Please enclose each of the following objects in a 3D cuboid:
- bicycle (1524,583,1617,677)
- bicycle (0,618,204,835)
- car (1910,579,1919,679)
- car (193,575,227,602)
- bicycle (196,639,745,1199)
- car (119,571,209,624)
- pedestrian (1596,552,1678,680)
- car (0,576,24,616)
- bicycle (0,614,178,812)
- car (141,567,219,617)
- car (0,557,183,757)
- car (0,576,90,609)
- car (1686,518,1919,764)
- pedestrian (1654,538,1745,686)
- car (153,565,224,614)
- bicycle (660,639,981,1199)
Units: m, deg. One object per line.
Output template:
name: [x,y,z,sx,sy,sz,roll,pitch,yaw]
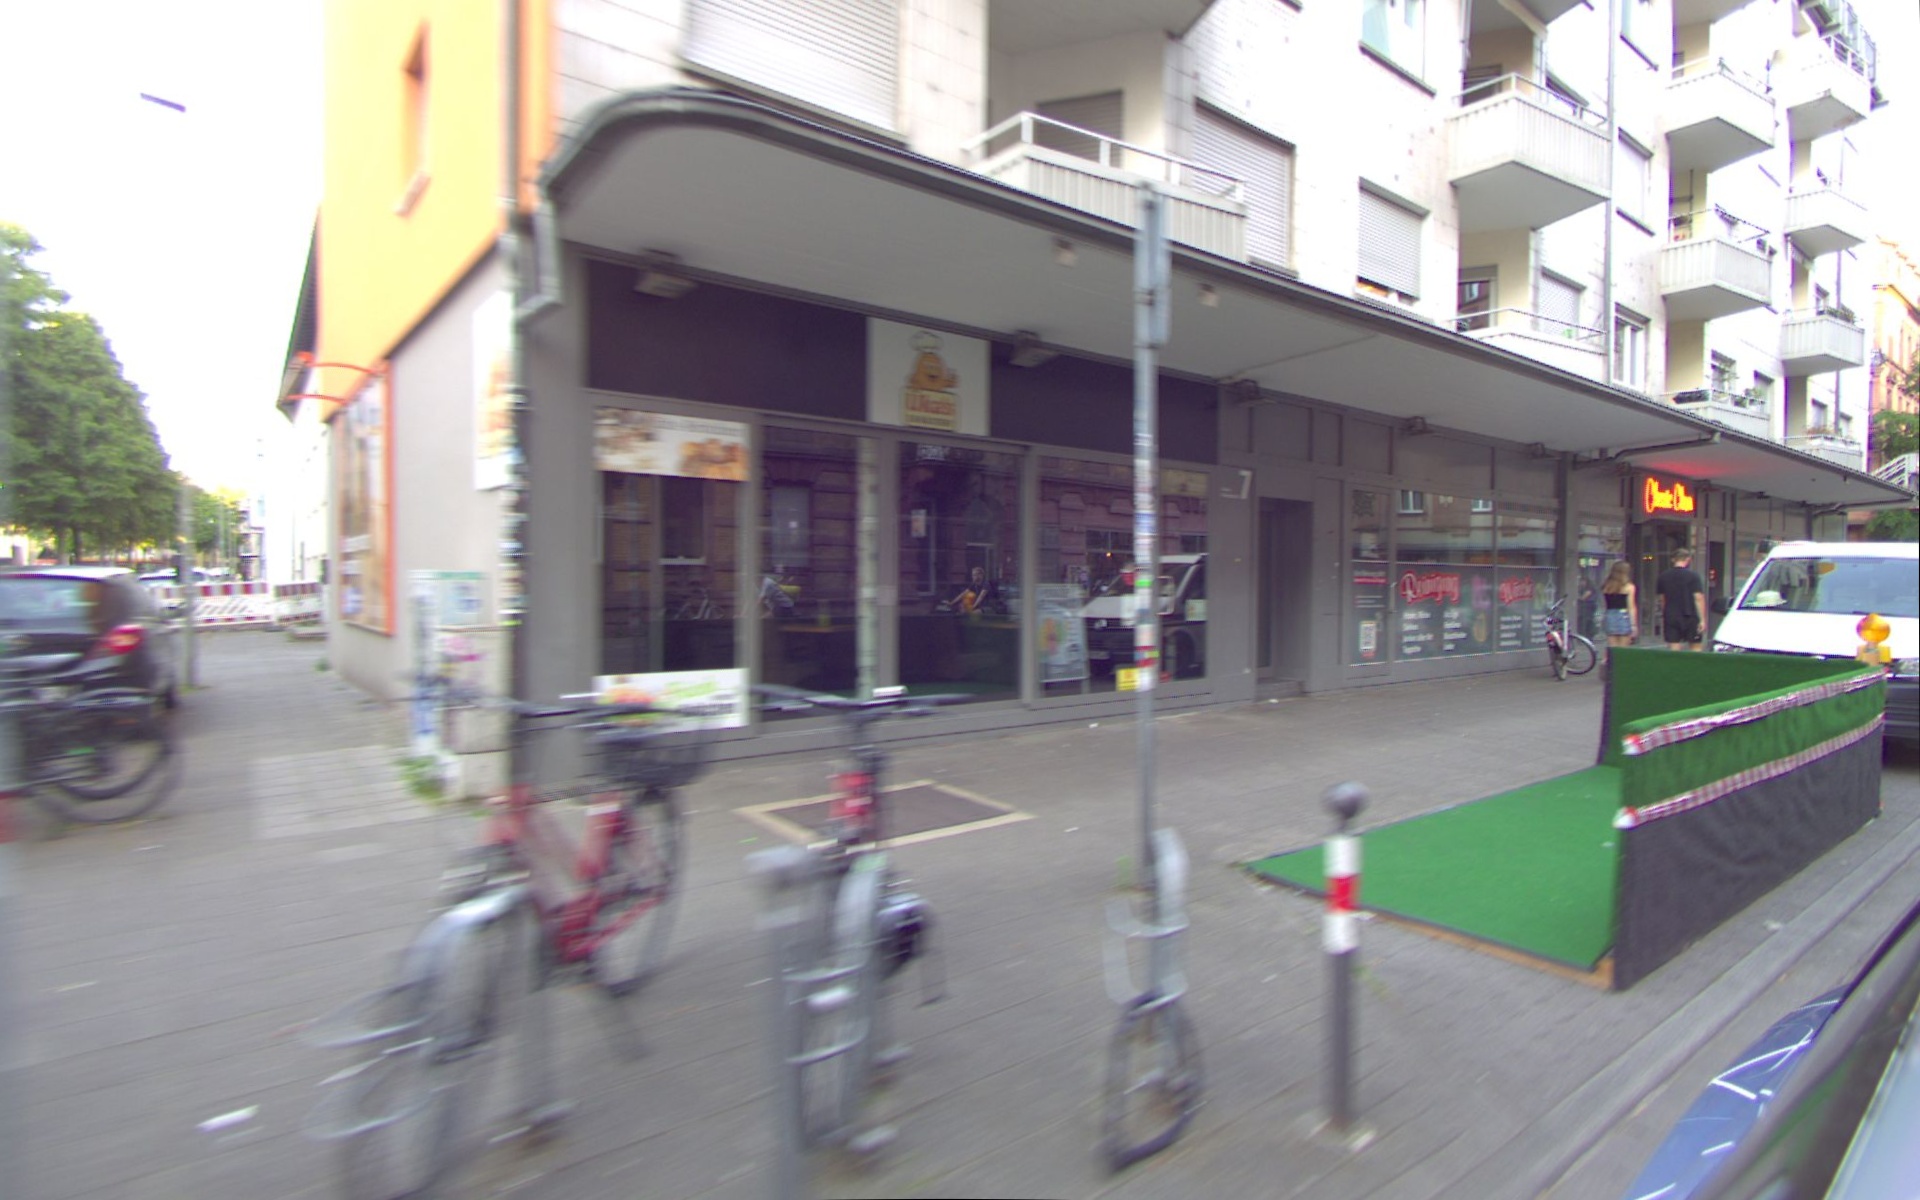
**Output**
bicycle: [8.841,0.392,14.623,0.908,1.210,1.688,3,4,38]
bicycle: [-5.316,0.691,5.451,1.926,1.080,0.565,-2,3,-33]
car: [16.275,0.452,15.886,3.363,1.519,1.596,-1,3,-41]
car: [-46.558,-0.717,62.875,1.561,1.559,3.595,-2,2,-35]
bicycle: [-1.128,0.784,2.880,0.644,1.148,1.946,1,3,-1]
car: [-23.703,-0.110,30.256,1.776,1.437,4.133,-2,2,-34]
pedestrian: [9.317,0.188,13.931,0.731,1.685,0.710,-2,3,-38]
car: [-41.832,-0.128,42.235,3.931,1.705,1.944,-2,2,-41]
bicycle: [-5.742,0.670,5.961,1.723,1.080,0.565,-2,3,-33]
car: [-26.853,-0.286,34.938,1.840,1.615,3.754,-2,2,-34]
car: [-8.160,0.386,9.140,1.674,1.494,3.679,-2,2,-36]
car: [-50.903,-0.429,55.906,1.932,1.705,3.955,0,2,33]
car: [9.378,0.293,10.216,4.911,1.998,1.964,0,3,-38]
pedestrian: [9.623,0.126,13.173,0.845,1.850,0.710,-2,3,-38]
car: [-29.831,-0.417,39.228,1.809,1.758,3.748,-2,1,-32]
bicycle: [-0.310,0.790,3.046,0.644,1.148,1.946,1,3,-1]
